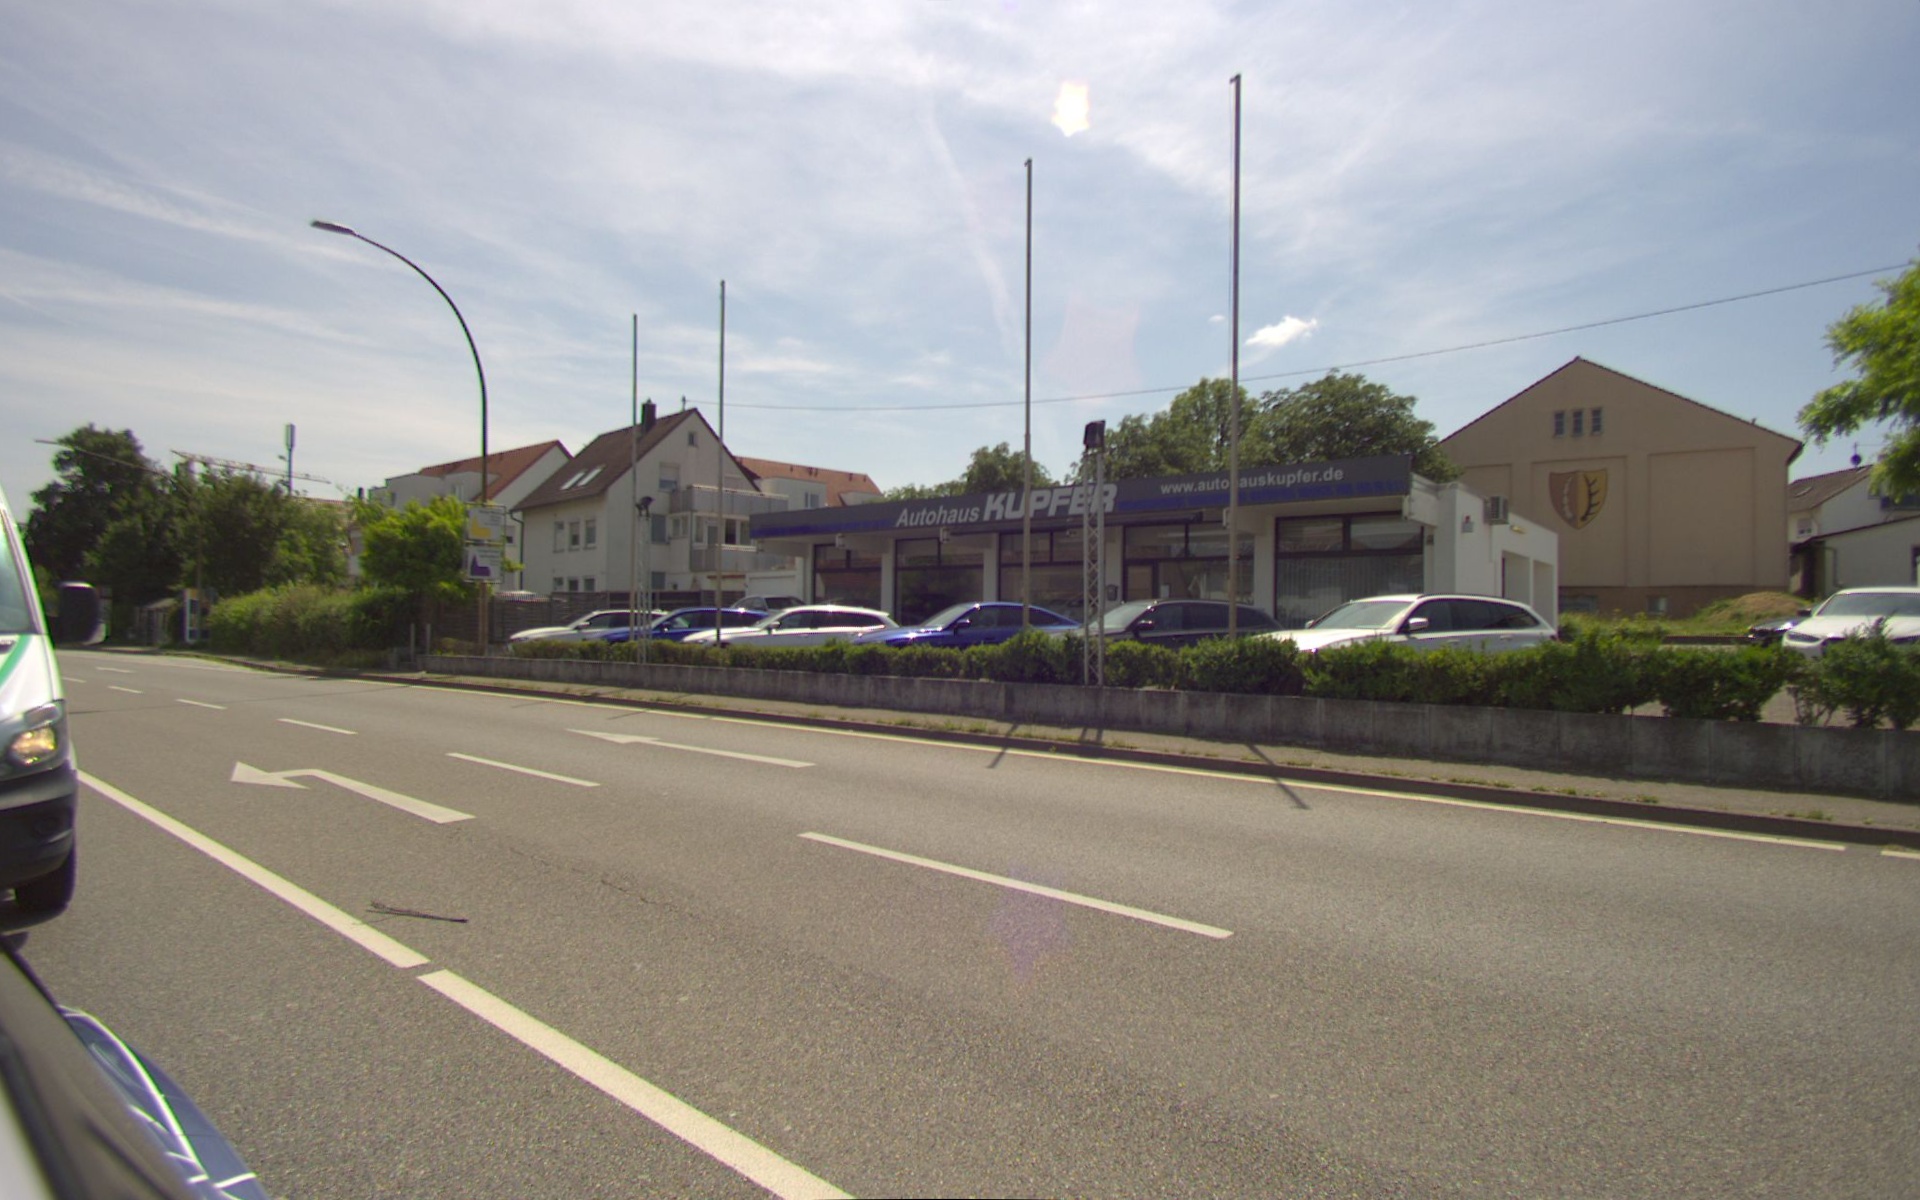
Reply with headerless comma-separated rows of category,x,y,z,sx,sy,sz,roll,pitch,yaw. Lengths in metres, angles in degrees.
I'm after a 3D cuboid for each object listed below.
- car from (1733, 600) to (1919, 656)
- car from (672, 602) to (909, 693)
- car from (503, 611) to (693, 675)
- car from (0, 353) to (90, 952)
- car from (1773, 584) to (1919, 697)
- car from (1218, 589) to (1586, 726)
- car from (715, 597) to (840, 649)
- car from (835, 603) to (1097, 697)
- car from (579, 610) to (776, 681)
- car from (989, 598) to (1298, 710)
car,22.454,0.700,25.851,3.946,1.231,1.791,-2,0,2
car,-3.468,0.904,20.621,4.438,1.458,1.863,-3,1,-19
car,-9.350,1.065,26.298,4.501,1.458,1.863,-1,0,-21
car,-6.694,0.267,5.658,5.745,2.548,1.915,-1,-1,40
car,14.028,0.528,15.221,3.934,1.521,1.839,-1,-1,-36
car,5.584,0.617,12.771,4.267,1.458,1.863,-1,0,-24
car,-5.727,0.697,31.340,1.781,1.475,4.589,-1,0,-40
car,0.102,0.808,18.013,4.267,1.458,1.863,-1,0,-23
car,-6.602,1.006,23.625,4.267,1.458,1.863,-1,0,-21
car,2.786,0.723,15.326,4.267,1.458,1.905,-1,0,-24
